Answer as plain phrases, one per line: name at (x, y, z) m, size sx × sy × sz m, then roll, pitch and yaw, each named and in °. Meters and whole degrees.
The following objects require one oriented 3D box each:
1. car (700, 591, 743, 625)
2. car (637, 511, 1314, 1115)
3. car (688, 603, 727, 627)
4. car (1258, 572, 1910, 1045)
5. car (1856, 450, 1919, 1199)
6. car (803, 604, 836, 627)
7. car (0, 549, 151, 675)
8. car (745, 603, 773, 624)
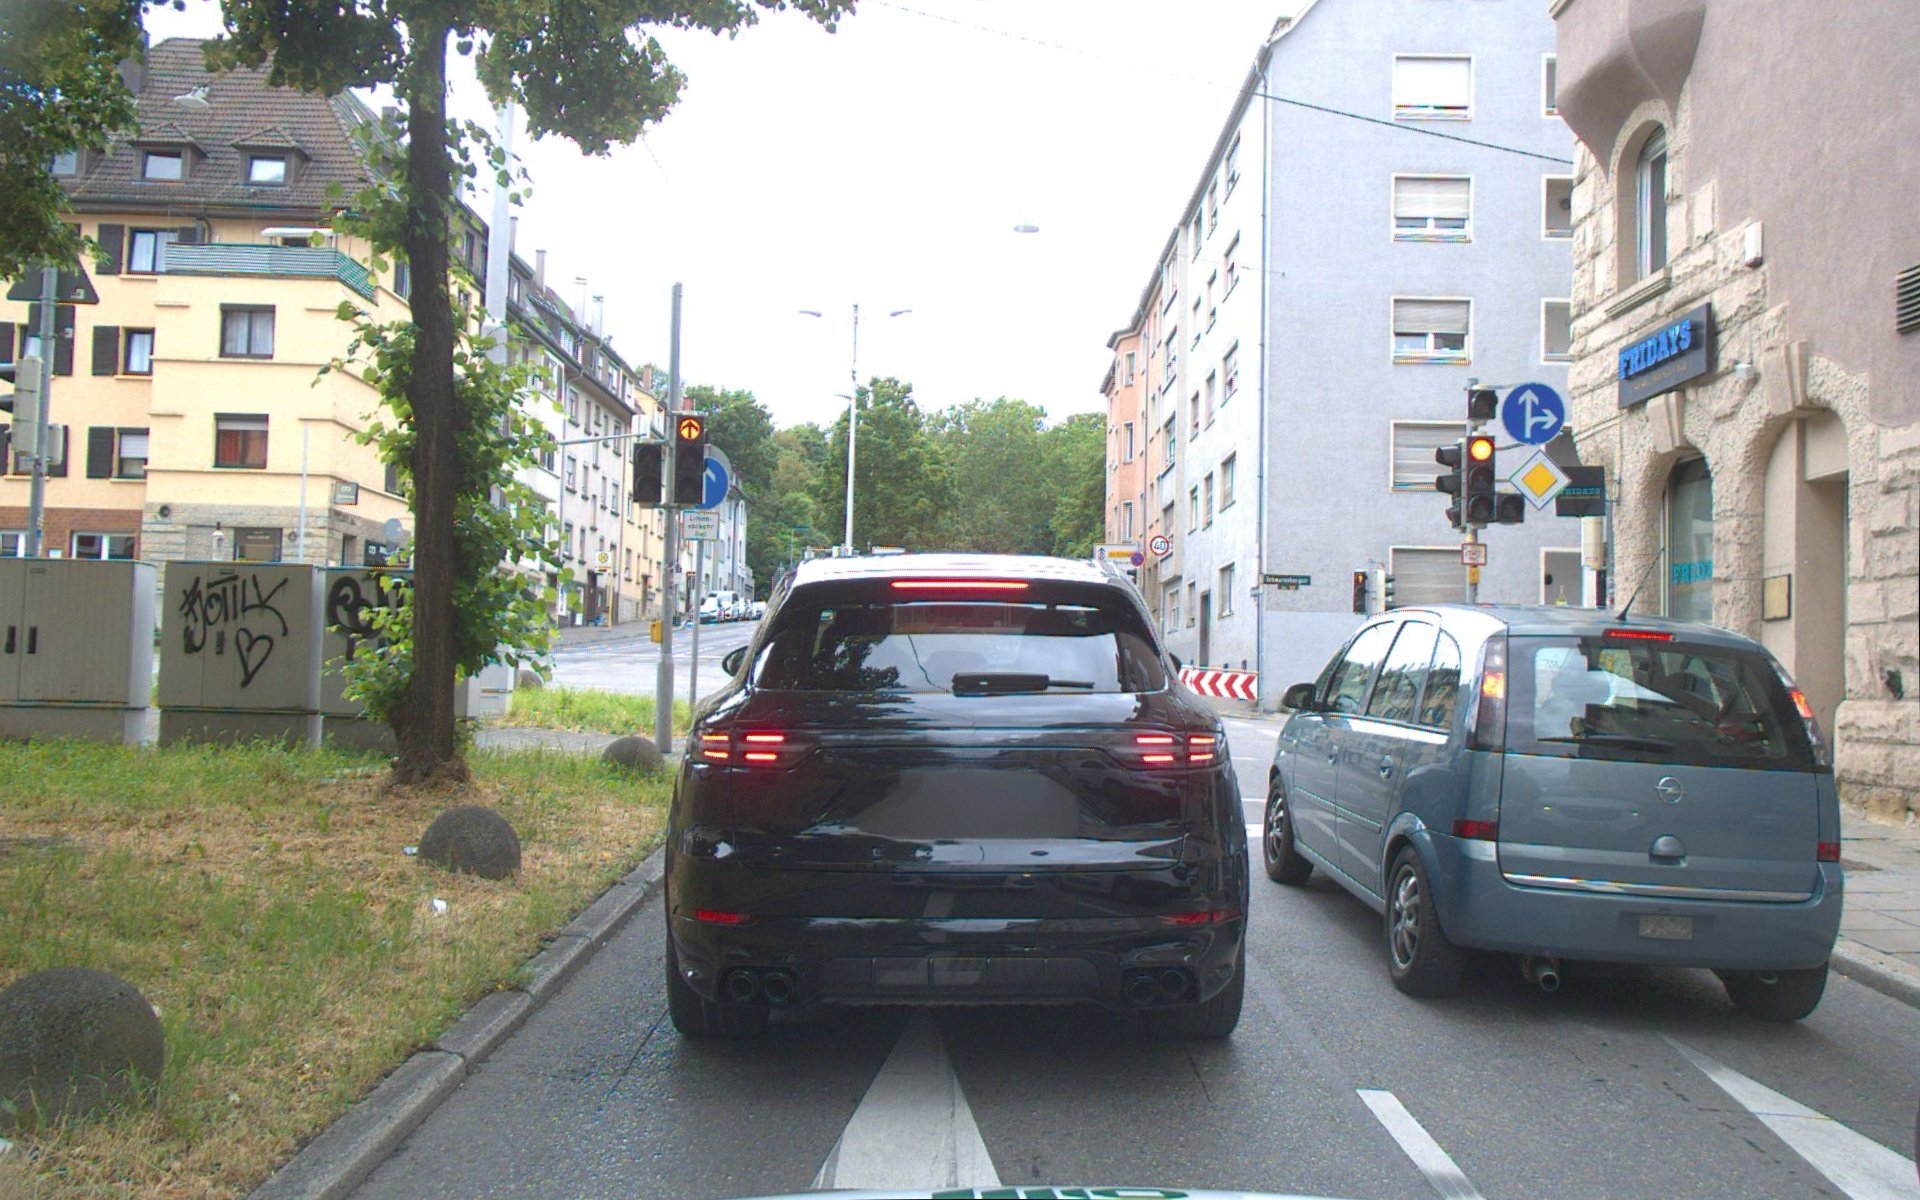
car at (-14.981, 0.495, 104.075) m, size 1.975 × 2.081 × 4.666 m, roll 1°, pitch 0°, yaw 0°
car at (0.020, 0.614, 6.694) m, size 1.916 × 1.704 × 3.999 m, roll 0°, pitch 0°, yaw -1°
car at (-15.042, 0.895, 98.618) m, size 1.703 × 1.411 × 3.813 m, roll 1°, pitch 0°, yaw 0°
car at (2.626, 0.772, 7.898) m, size 1.596 × 1.625 × 3.668 m, roll 4°, pitch 0°, yaw -1°
car at (2.913, 0.668, 1.064) m, size 1.936 × 1.806 × 4.674 m, roll 4°, pitch 0°, yaw -2°
car at (-9.148, 1.012, 108.247) m, size 1.824 × 1.412 × 4.094 m, roll 1°, pitch 0°, yaw 0°
car at (-13.452, 0.138, 22.340) m, size 4.174 × 1.622 × 1.686 m, roll 1°, pitch -1°, yaw -11°
car at (-15.157, 1.015, 124.794) m, size 1.655 × 1.565 × 3.813 m, roll 1°, pitch 0°, yaw 0°
